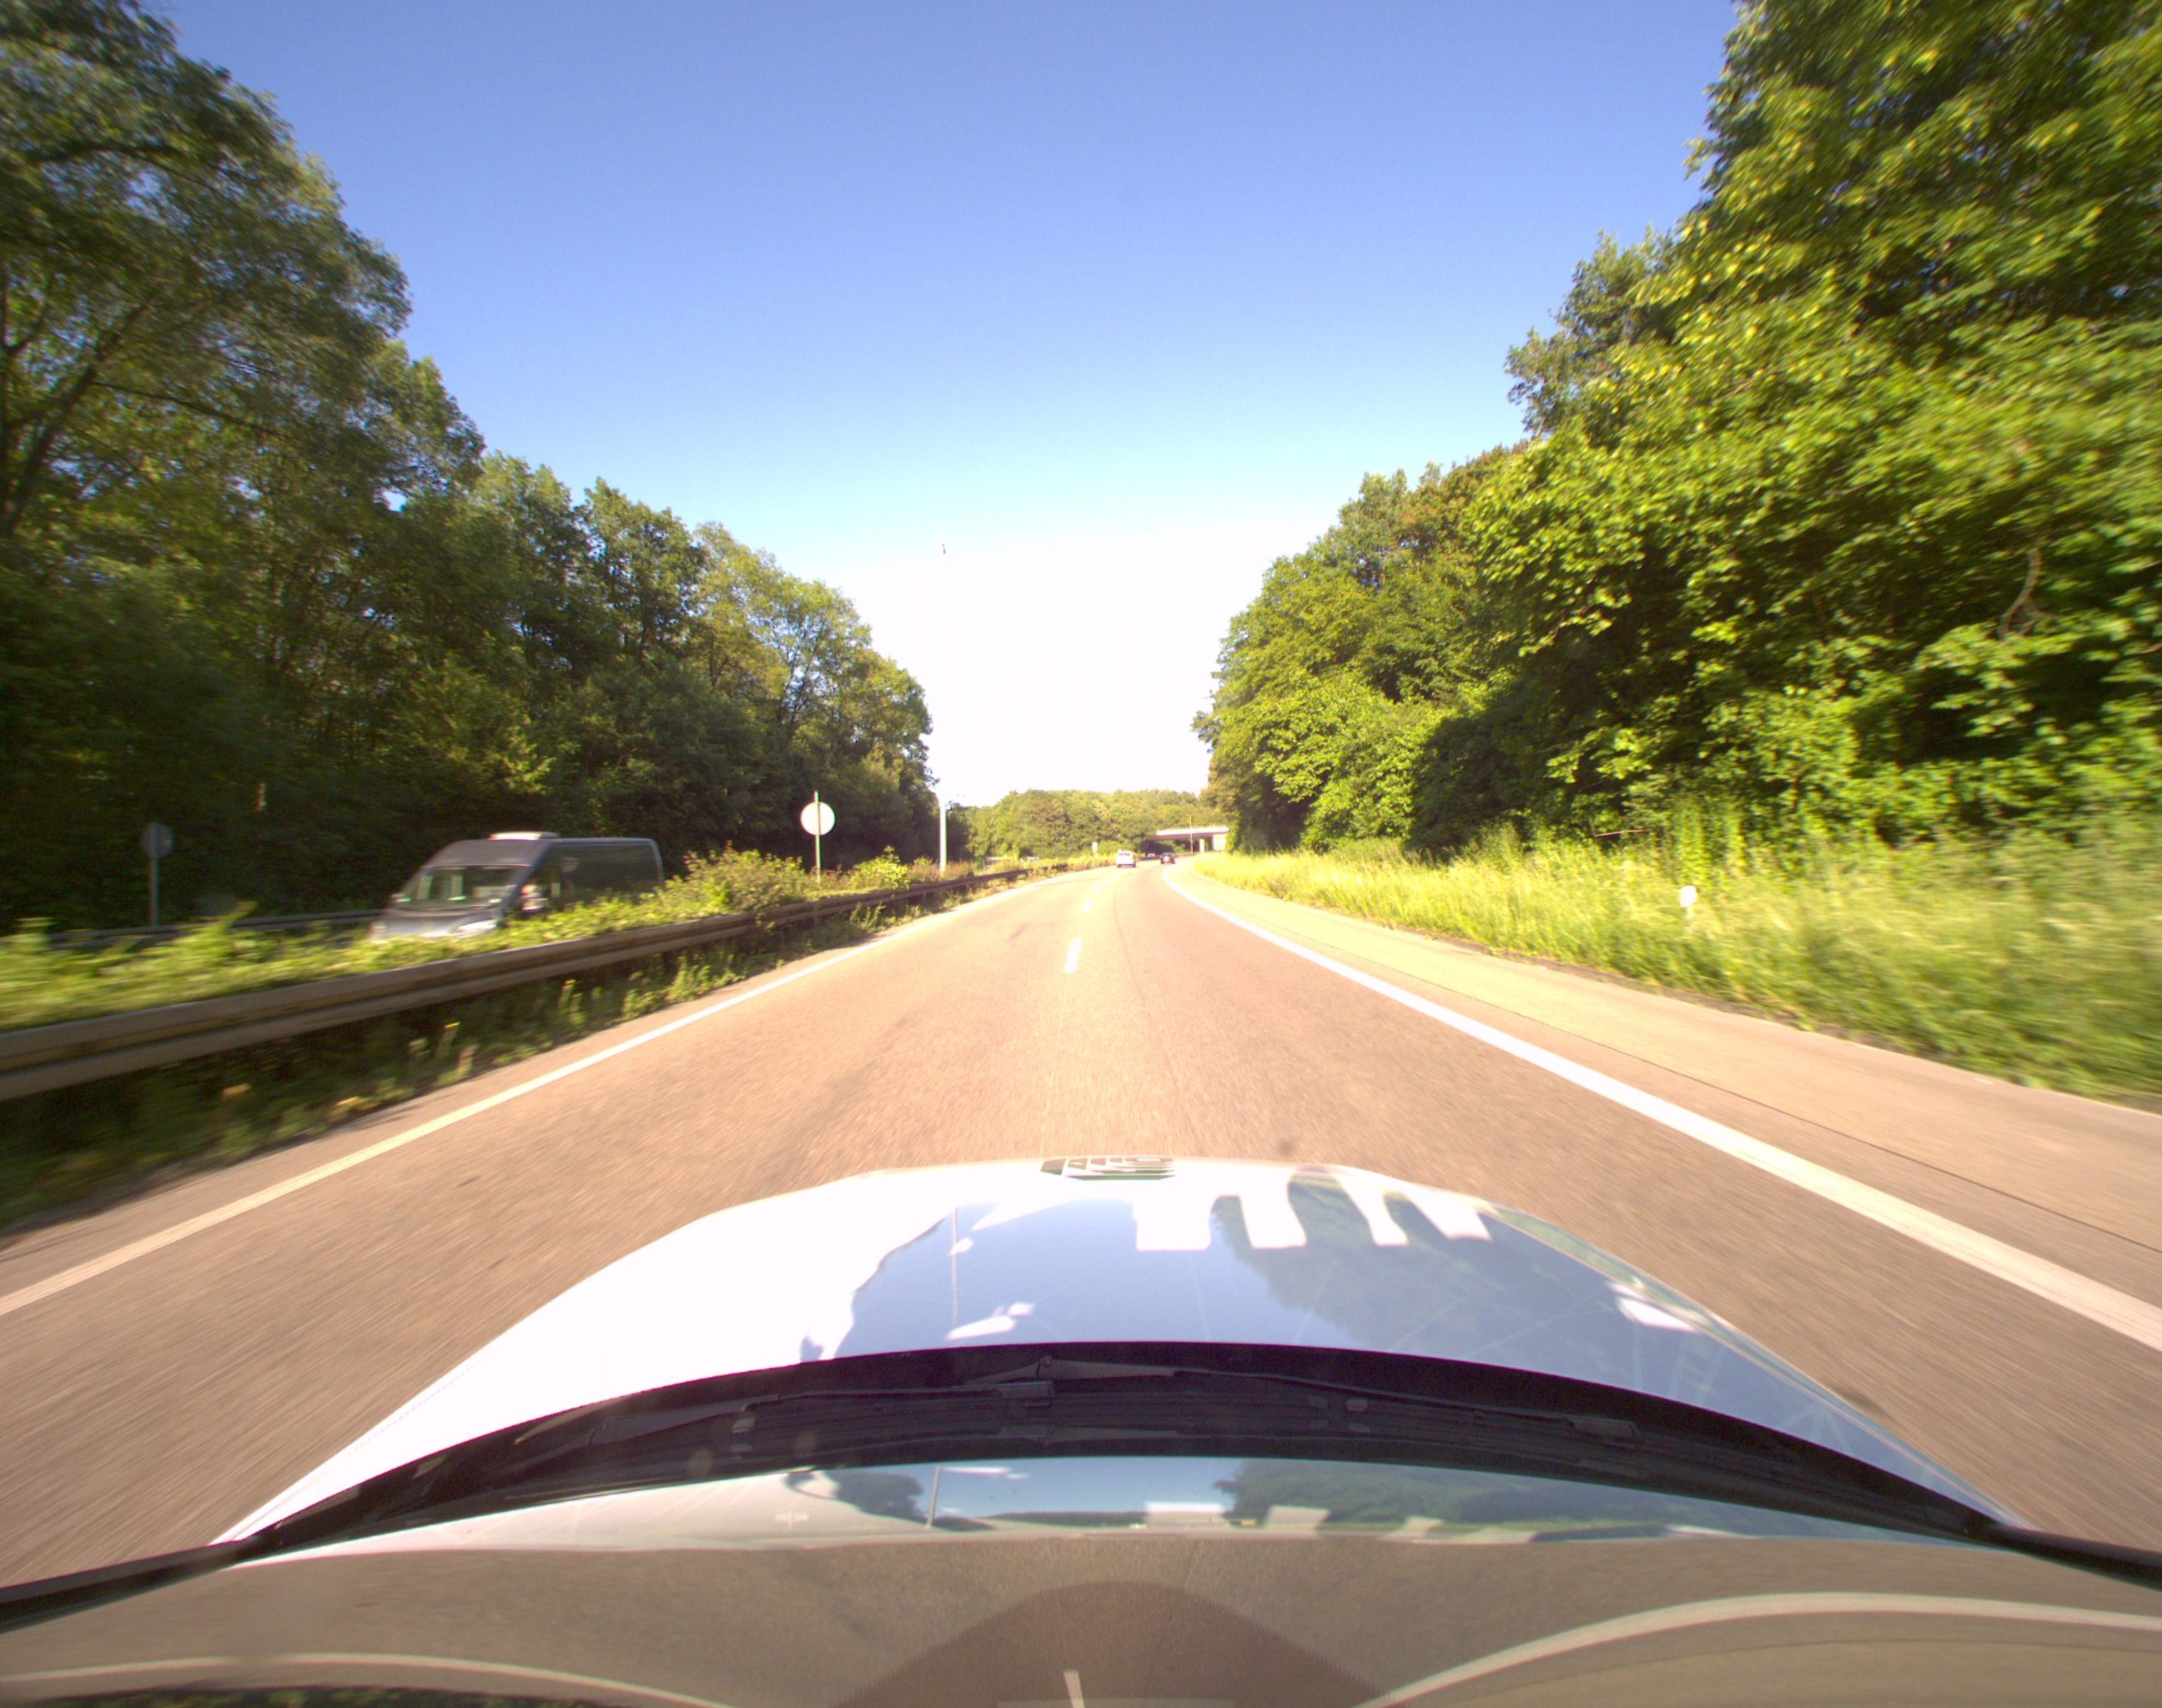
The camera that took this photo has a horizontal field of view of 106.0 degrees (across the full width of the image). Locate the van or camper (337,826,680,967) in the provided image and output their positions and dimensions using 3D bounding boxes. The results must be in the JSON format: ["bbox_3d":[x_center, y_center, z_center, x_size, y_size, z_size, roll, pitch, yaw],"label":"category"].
[{"bbox_3d":[-9.842,0.630,14.831,2.135,2.013,5.582,-2,0,1],"label":"van or camper"}]

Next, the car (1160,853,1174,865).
[{"bbox_3d":[11.924,0.661,112.484,1.729,1.662,3.956,-2,0,9],"label":"car"}]

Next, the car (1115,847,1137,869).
[{"bbox_3d":[4.932,0.437,89.130,1.982,2.277,4.010,-2,0,9],"label":"car"}]
